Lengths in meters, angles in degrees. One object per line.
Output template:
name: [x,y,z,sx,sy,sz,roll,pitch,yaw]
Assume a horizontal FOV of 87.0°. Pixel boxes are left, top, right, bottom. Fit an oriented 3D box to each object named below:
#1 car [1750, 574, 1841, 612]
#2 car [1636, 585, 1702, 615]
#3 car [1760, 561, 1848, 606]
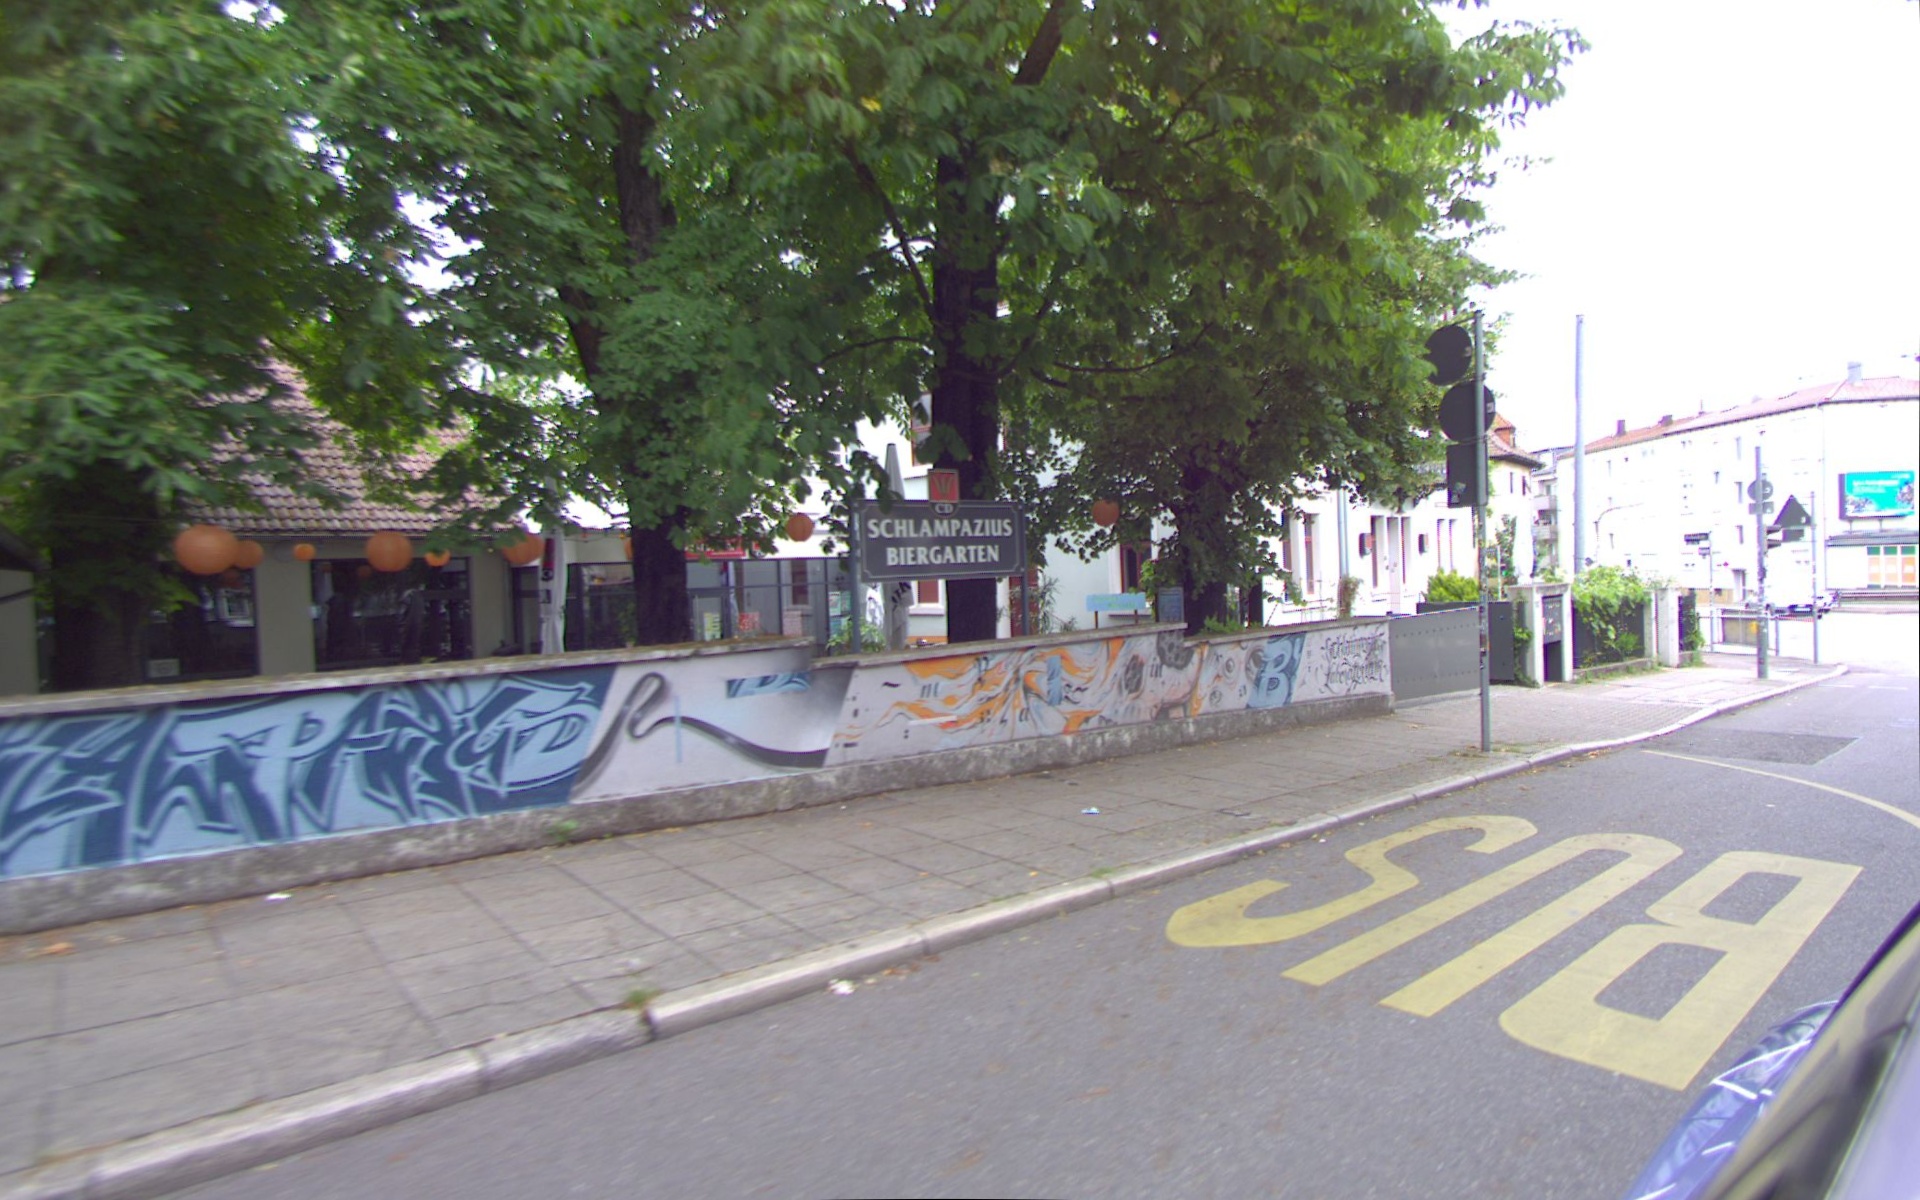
car: [36.298,-0.291,44.086,2.018,1.570,4.001,-1,-1,24]
car: [38.844,0.025,55.528,1.930,1.570,4.009,-1,-1,20]
car: [41.357,-0.850,49.725,1.975,2.038,4.242,-2,1,21]
